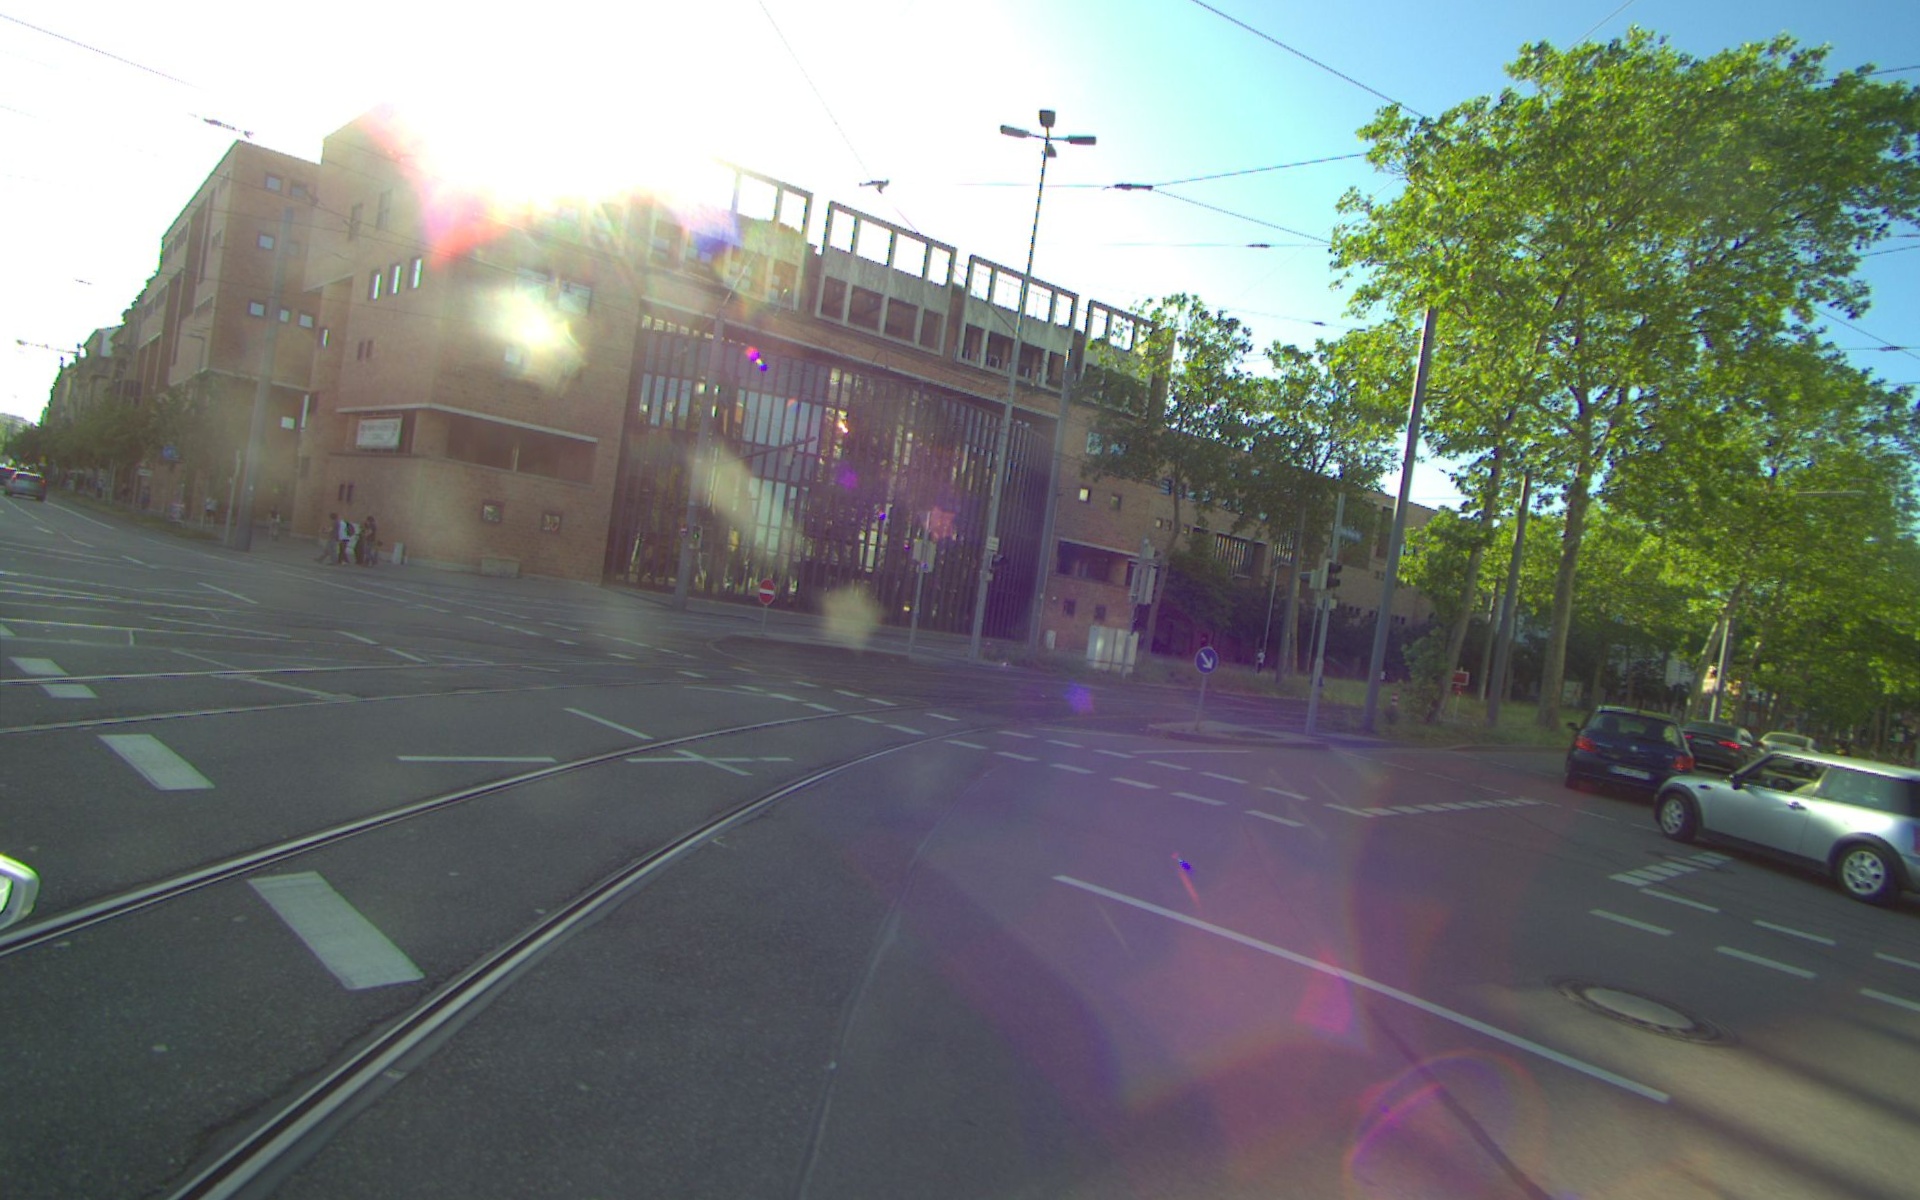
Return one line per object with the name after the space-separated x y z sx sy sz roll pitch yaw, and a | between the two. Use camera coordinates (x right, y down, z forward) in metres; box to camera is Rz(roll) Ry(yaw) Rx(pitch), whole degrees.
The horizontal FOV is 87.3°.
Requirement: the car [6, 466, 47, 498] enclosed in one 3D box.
-54.301 -6.858 58.517 1.556 1.473 3.387 9 0 -44 | car

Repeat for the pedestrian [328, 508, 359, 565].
-21.002 -2.163 34.294 0.541 1.808 0.571 9 1 38 | pedestrian

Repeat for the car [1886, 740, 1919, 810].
23.518 4.292 23.418 3.940 1.492 1.851 9 0 -33 | car

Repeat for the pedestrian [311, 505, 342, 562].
-21.205 -2.221 33.679 0.541 1.808 0.571 9 1 38 | pedestrian

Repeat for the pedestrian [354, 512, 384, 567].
-20.804 -2.128 35.415 0.541 1.808 0.571 9 1 38 | pedestrian

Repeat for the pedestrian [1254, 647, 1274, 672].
21.213 4.159 70.207 0.812 1.532 0.784 8 1 -41 | pedestrian

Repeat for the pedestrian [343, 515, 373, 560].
-21.606 -2.246 36.127 0.563 1.495 0.548 10 1 28 | pedestrian

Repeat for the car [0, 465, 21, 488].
-69.853 -9.090 73.527 1.667 1.471 3.650 8 0 -44 | car

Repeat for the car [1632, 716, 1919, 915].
9.773 2.377 11.332 1.638 1.405 3.532 10 1 -5 | car

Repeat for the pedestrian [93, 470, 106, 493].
-72.654 -10.034 84.922 0.638 1.808 0.680 7 1 -42 | pedestrian

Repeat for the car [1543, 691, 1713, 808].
11.522 2.494 17.633 1.834 1.492 3.975 9 -1 27 | car

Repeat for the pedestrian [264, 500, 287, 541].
-32.586 -3.787 47.878 0.638 1.808 0.680 7 1 -42 | pedestrian

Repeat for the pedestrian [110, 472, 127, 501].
-56.050 -7.537 66.998 0.638 1.808 0.680 7 1 -44 | pedestrian

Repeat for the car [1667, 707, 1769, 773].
22.109 4.102 29.293 3.998 1.456 1.679 11 -2 -44 | car

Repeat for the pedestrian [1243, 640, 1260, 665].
21.152 3.817 72.971 0.799 1.625 0.686 9 1 33 | pedestrian

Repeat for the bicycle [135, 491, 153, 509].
-51.128 -6.274 63.052 0.646 0.915 2.316 8 0 -43 | bicycle

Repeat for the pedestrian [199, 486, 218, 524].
-38.558 -4.866 51.618 0.545 1.808 0.566 8 3 -42 | pedestrian

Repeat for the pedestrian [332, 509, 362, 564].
-21.421 -2.213 35.141 0.541 1.808 0.571 9 1 38 | pedestrian

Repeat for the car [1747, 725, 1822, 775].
31.089 5.656 37.885 1.678 1.492 3.961 9 0 45 | car

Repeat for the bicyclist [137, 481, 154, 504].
-51.114 -6.750 63.108 0.644 1.355 0.644 8 1 -43 | bicyclist

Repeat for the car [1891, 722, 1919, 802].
27.512 4.664 28.124 1.843 2.040 4.434 9 0 45 | car
